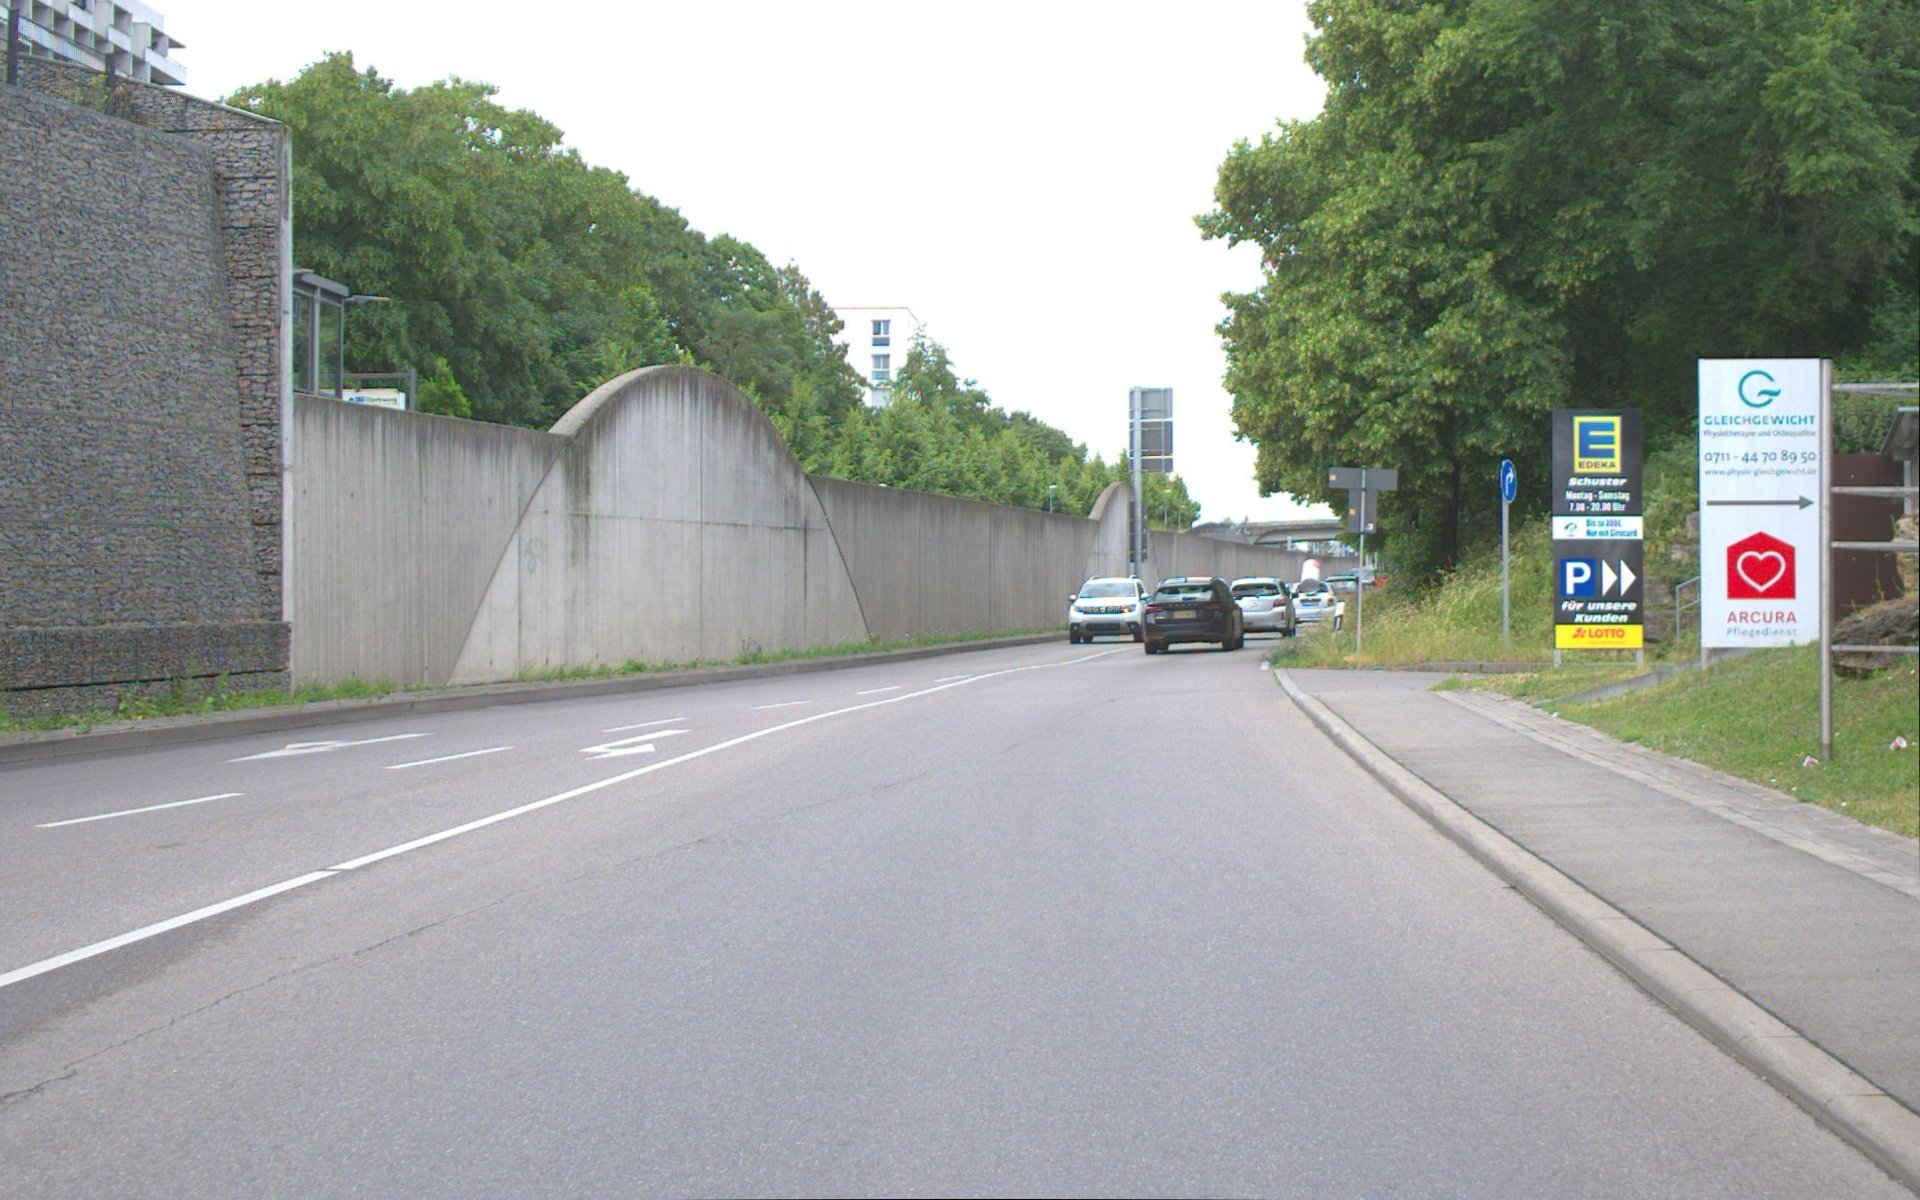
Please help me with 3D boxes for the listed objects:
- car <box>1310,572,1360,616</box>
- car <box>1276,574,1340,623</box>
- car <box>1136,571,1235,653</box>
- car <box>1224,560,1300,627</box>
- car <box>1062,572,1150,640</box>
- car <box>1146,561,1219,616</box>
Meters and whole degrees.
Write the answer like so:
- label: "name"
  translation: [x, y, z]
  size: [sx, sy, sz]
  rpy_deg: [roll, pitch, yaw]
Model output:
- label: "car"
  translation: [14.449, -0.217, 132.187]
  size: [1.755, 1.528, 4.252]
  rpy_deg: [2, -1, 8]
- label: "car"
  translation: [11.163, -0.056, 110.072]
  size: [1.867, 1.485, 4.255]
  rpy_deg: [2, 0, 7]
- label: "car"
  translation: [4.515, 0.259, 68.398]
  size: [1.755, 1.518, 4.035]
  rpy_deg: [2, -1, 6]
- label: "car"
  translation: [7.422, -0.142, 84.292]
  size: [1.754, 1.518, 4.035]
  rpy_deg: [2, -1, 6]
- label: "car"
  translation: [3.647, 0.140, 85.026]
  size: [1.862, 1.626, 4.207]
  rpy_deg: [-1, 0, 7]
- label: "car"
  translation: [6.940, -0.363, 107.018]
  size: [1.891, 1.626, 4.424]
  rpy_deg: [-1, 0, 8]
